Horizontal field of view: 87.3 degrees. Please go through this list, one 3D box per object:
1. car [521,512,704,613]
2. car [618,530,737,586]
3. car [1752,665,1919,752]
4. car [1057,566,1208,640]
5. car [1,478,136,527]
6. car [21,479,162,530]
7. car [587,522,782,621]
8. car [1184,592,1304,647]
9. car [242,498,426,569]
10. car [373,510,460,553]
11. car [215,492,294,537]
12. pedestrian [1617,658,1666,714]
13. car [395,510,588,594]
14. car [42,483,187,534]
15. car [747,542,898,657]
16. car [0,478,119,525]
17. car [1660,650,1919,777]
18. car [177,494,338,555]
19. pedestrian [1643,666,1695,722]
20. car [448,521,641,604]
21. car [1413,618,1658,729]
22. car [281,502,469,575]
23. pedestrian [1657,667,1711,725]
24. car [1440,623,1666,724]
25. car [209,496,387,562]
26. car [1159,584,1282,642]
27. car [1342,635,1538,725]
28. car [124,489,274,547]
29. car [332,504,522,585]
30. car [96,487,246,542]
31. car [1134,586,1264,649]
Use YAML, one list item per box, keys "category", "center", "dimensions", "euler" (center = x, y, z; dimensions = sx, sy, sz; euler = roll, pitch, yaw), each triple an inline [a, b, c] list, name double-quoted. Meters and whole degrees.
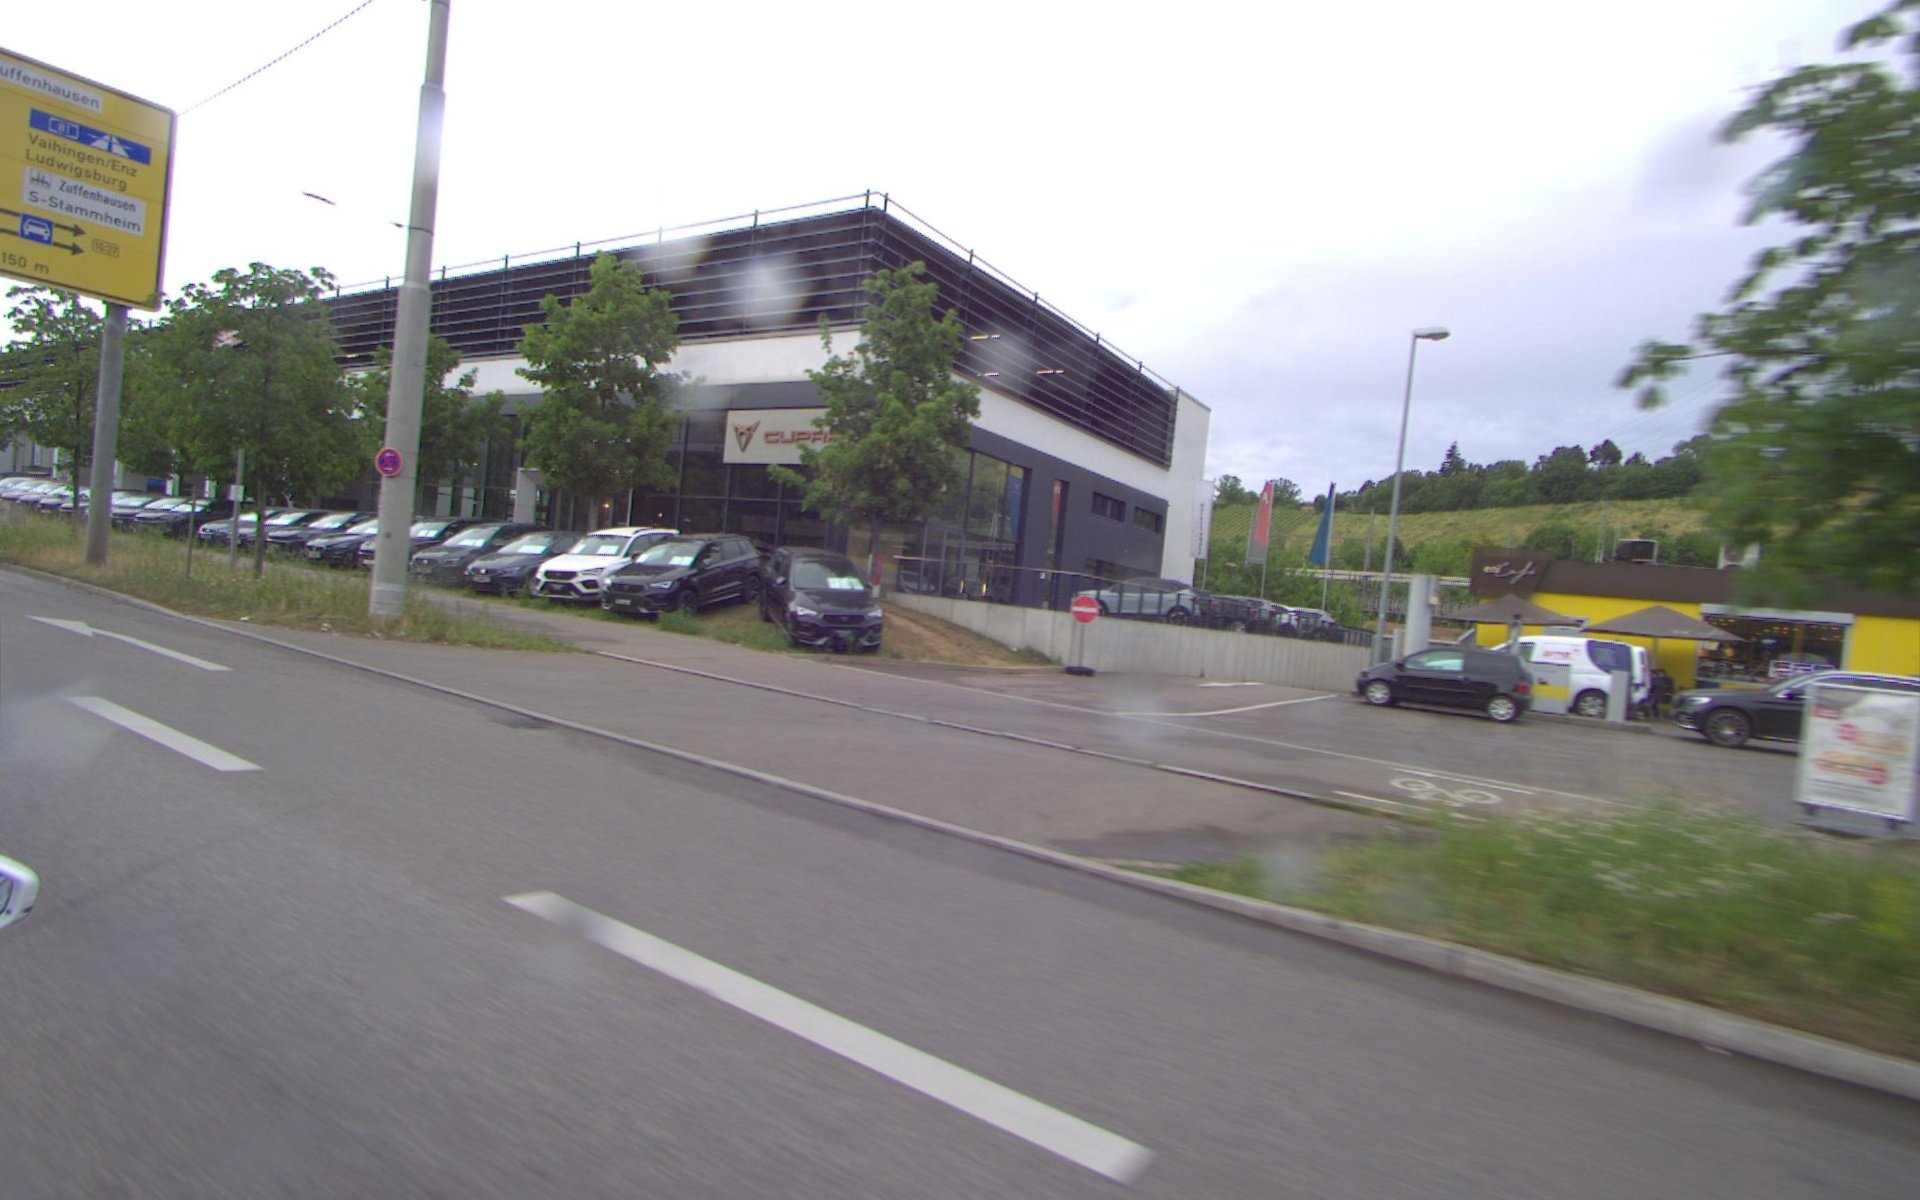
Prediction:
- category: "car"
  center: [-8.024, -0.802, 23.719]
  dimensions: [1.786, 2.018, 4.498]
  euler: [6, 1, 13]
- category: "car"
  center: [-9.859, -1.487, 35.056]
  dimensions: [3.835, 1.491, 1.780]
  euler: [7, 1, 33]
- category: "car"
  center: [22.102, 2.666, 24.035]
  dimensions: [4.639, 1.630, 1.994]
  euler: [7, 2, 32]
- category: "car"
  center: [5.276, 0.088, 31.267]
  dimensions: [4.236, 1.665, 1.844]
  euler: [7, 1, 1]
- category: "car"
  center: [-38.610, -4.201, 43.700]
  dimensions: [1.792, 1.590, 4.151]
  euler: [6, 1, 9]
- category: "car"
  center: [-36.254, -3.936, 42.134]
  dimensions: [1.873, 1.590, 4.151]
  euler: [6, 1, 11]
- category: "car"
  center: [-5.913, -0.551, 22.210]
  dimensions: [1.844, 1.813, 4.387]
  euler: [6, 1, 20]
- category: "car"
  center: [11.582, 0.775, 41.264]
  dimensions: [4.236, 1.665, 1.844]
  euler: [7, 1, 1]
- category: "car"
  center: [-18.952, -1.959, 30.712]
  dimensions: [1.788, 1.685, 4.495]
  euler: [6, 1, 22]
- category: "car"
  center: [-24.127, -3.048, 44.597]
  dimensions: [3.835, 1.491, 1.666]
  euler: [7, 1, 33]
- category: "car"
  center: [-38.088, -4.604, 54.298]
  dimensions: [4.357, 1.963, 1.888]
  euler: [7, 1, 33]
- category: "pedestrian"
  center: [17.783, 2.232, 26.268]
  dimensions: [0.700, 1.334, 0.800]
  euler: [7, 1, 16]
- category: "car"
  center: [-12.125, -1.187, 26.395]
  dimensions: [1.788, 1.775, 4.495]
  euler: [6, 1, 22]
- category: "car"
  center: [-34.018, -3.643, 40.607]
  dimensions: [1.796, 1.548, 4.151]
  euler: [6, 1, 14]
- category: "car"
  center: [-2.870, -0.101, 20.074]
  dimensions: [1.852, 1.840, 4.365]
  euler: [5, 2, -22]
- category: "car"
  center: [-40.857, -4.445, 45.436]
  dimensions: [1.792, 1.626, 4.151]
  euler: [6, 1, 9]
- category: "car"
  center: [16.136, 2.103, 18.888]
  dimensions: [4.639, 1.759, 1.994]
  euler: [7, 2, 32]
- category: "car"
  center: [-23.098, -2.448, 33.254]
  dimensions: [1.656, 1.521, 4.052]
  euler: [6, 1, 22]
- category: "pedestrian"
  center: [18.724, 2.459, 26.574]
  dimensions: [0.765, 1.334, 0.800]
  euler: [7, 1, 16]
- category: "car"
  center: [-10.117, -0.857, 24.900]
  dimensions: [1.787, 1.659, 4.496]
  euler: [6, 1, 19]
- category: "car"
  center: [13.341, 1.628, 23.540]
  dimensions: [4.639, 1.884, 1.994]
  euler: [7, 2, 32]
- category: "car"
  center: [-16.987, -1.734, 29.473]
  dimensions: [1.788, 1.640, 4.493]
  euler: [7, 2, 24]
- category: "pedestrian"
  center: [18.429, 2.431, 25.626]
  dimensions: [0.765, 1.334, 0.800]
  euler: [7, 1, 16]
- category: "car"
  center: [15.060, 1.800, 25.743]
  dimensions: [4.639, 1.884, 1.994]
  euler: [7, 2, 32]
- category: "car"
  center: [-21.080, -2.214, 32.280]
  dimensions: [1.788, 1.589, 4.495]
  euler: [6, 1, 22]
- category: "car"
  center: [10.006, 0.498, 38.936]
  dimensions: [4.234, 1.665, 1.845]
  euler: [7, 1, 6]
- category: "car"
  center: [9.986, 1.629, 21.017]
  dimensions: [3.433, 1.354, 1.392]
  euler: [7, 0, 33]
- category: "car"
  center: [-27.214, -2.905, 36.134]
  dimensions: [1.700, 1.597, 4.055]
  euler: [6, 1, 14]
- category: "car"
  center: [-14.670, -1.475, 28.007]
  dimensions: [1.788, 1.819, 4.495]
  euler: [6, 2, 22]
- category: "car"
  center: [-29.461, -3.138, 37.714]
  dimensions: [1.760, 1.554, 4.151]
  euler: [6, 1, 14]
- category: "car"
  center: [8.507, 0.612, 36.163]
  dimensions: [4.233, 1.665, 1.845]
  euler: [7, 1, 8]
